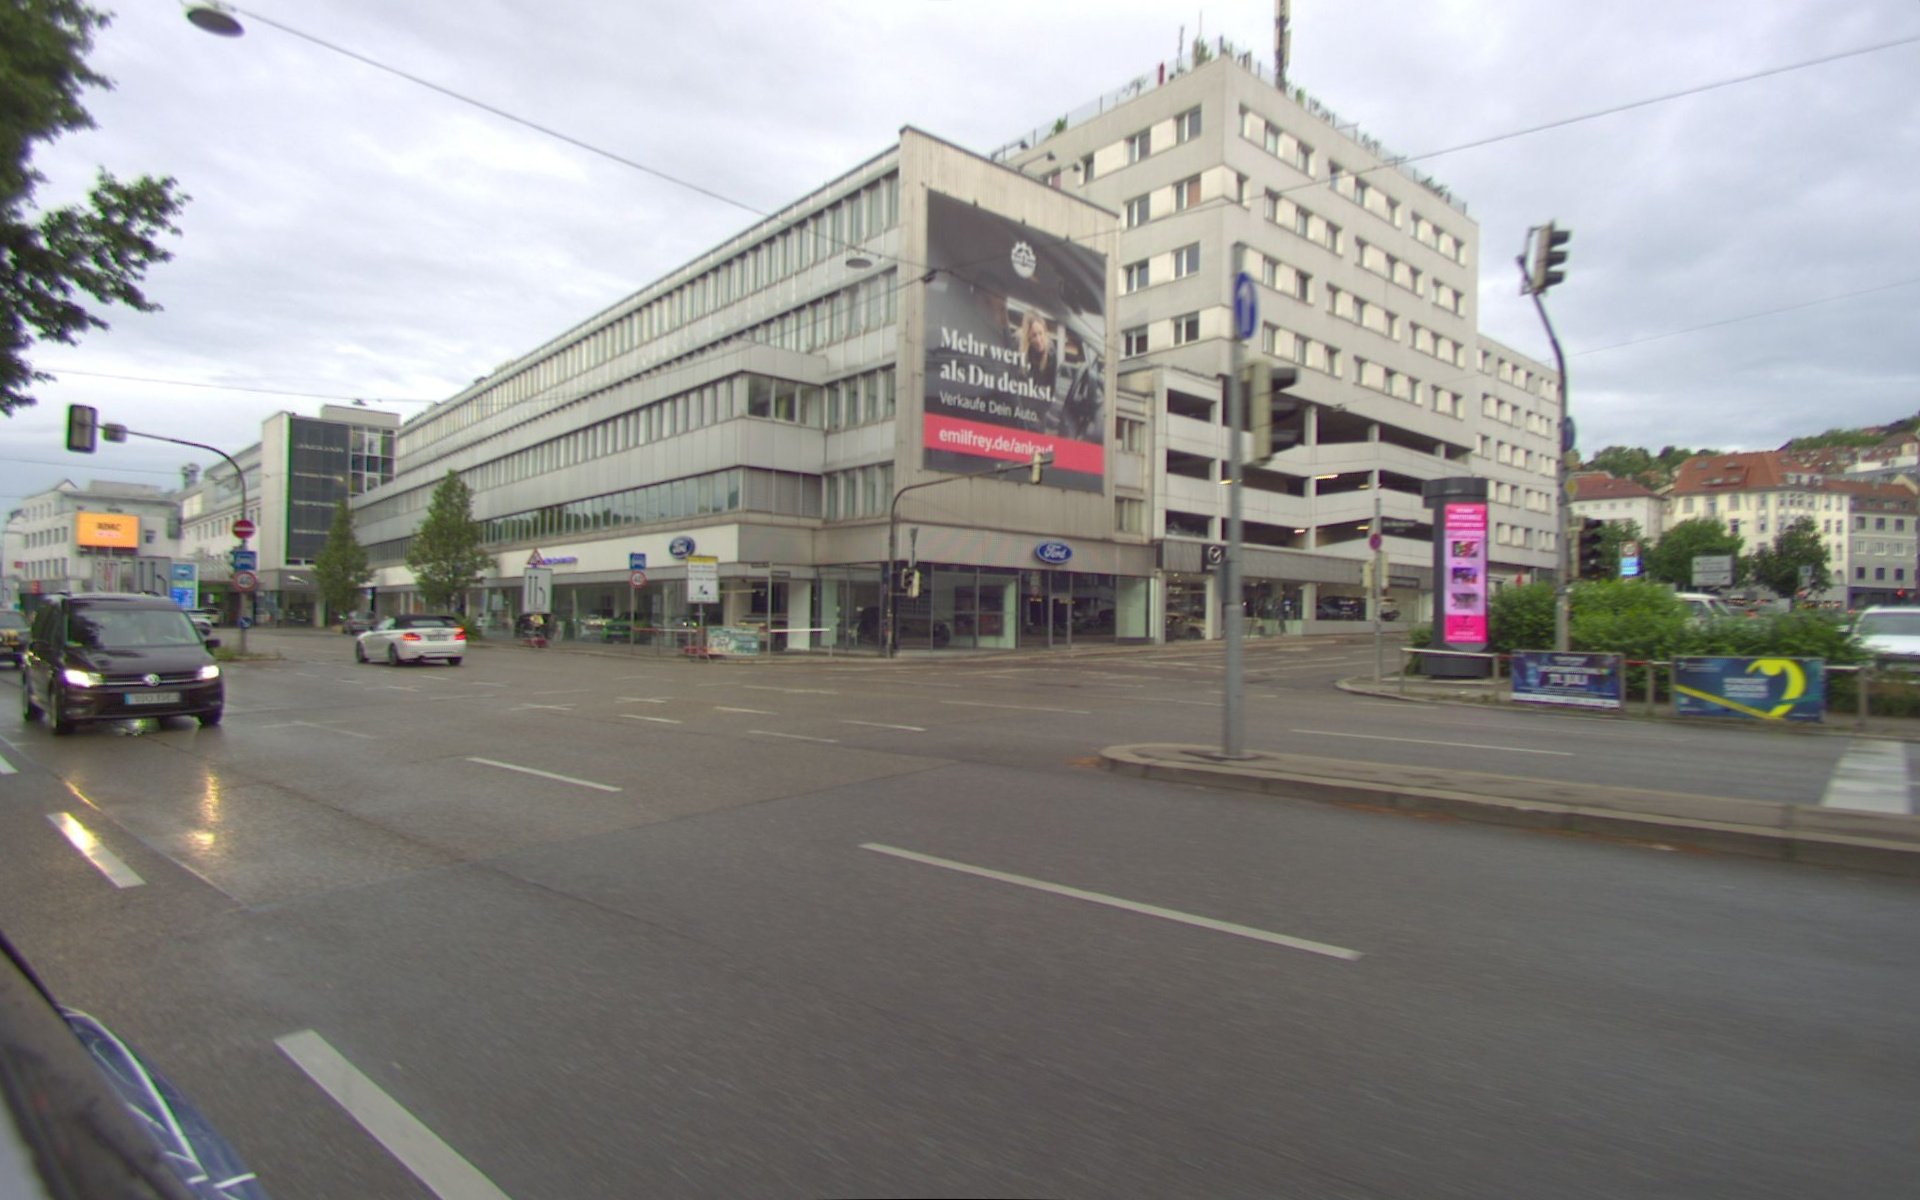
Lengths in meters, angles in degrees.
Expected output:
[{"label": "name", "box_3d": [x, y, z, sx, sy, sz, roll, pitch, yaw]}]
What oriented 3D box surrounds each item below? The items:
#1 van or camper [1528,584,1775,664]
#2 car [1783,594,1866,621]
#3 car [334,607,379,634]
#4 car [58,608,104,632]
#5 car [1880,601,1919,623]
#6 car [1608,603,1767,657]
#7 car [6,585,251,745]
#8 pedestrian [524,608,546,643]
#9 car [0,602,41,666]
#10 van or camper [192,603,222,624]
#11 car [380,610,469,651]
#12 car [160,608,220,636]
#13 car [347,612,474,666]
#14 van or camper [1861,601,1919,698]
[{"label": "van or camper", "box_3d": [19.466, 0.600, 28.717, 2.101, 1.992, 5.459, -3, 2, -43]}, {"label": "car", "box_3d": [46.893, 0.386, 54.921, 1.378, 1.364, 3.181, -2, 2, -35]}, {"label": "car", "box_3d": [-44.762, 1.504, 75.028, 1.896, 1.829, 4.168, -3, 2, -44]}, {"label": "car", "box_3d": [-53.956, 1.204, 62.114, 3.862, 1.447, 1.665, 0, -1, 42]}, {"label": "car", "box_3d": [72.732, 0.887, 76.903, 1.749, 1.574, 3.985, -2, 2, -39]}, {"label": "car", "box_3d": [24.482, 0.966, 34.155, 1.689, 1.624, 4.092, -2, 2, -42]}, {"label": "car", "box_3d": [-11.552, 0.750, 13.952, 4.429, 1.828, 1.881, 0, 2, 41]}, {"label": "pedestrian", "box_3d": [-22.622, 1.347, 53.864, 0.750, 1.788, 0.864, -2, 2, -43]}, {"label": "car", "box_3d": [-26.248, 0.881, 27.205, 4.331, 1.611, 1.791, 0, 2, 41]}, {"label": "van or camper", "box_3d": [-74.408, 1.343, 99.977, 1.902, 1.944, 4.258, -3, 2, -43]}, {"label": "car", "box_3d": [-20.319, 1.120, 38.311, 4.040, 1.476, 1.691, 0, -1, 42]}, {"label": "car", "box_3d": [-46.419, 1.298, 60.998, 4.451, 1.622, 1.871, 0, 0, 39]}, {"label": "car", "box_3d": [-15.715, 1.063, 28.837, 4.404, 1.404, 1.811, 0, -2, 42]}, {"label": "van or camper", "box_3d": [17.863, 0.851, 18.382, 3.940, 1.640, 1.916, 0, -1, -44]}]
